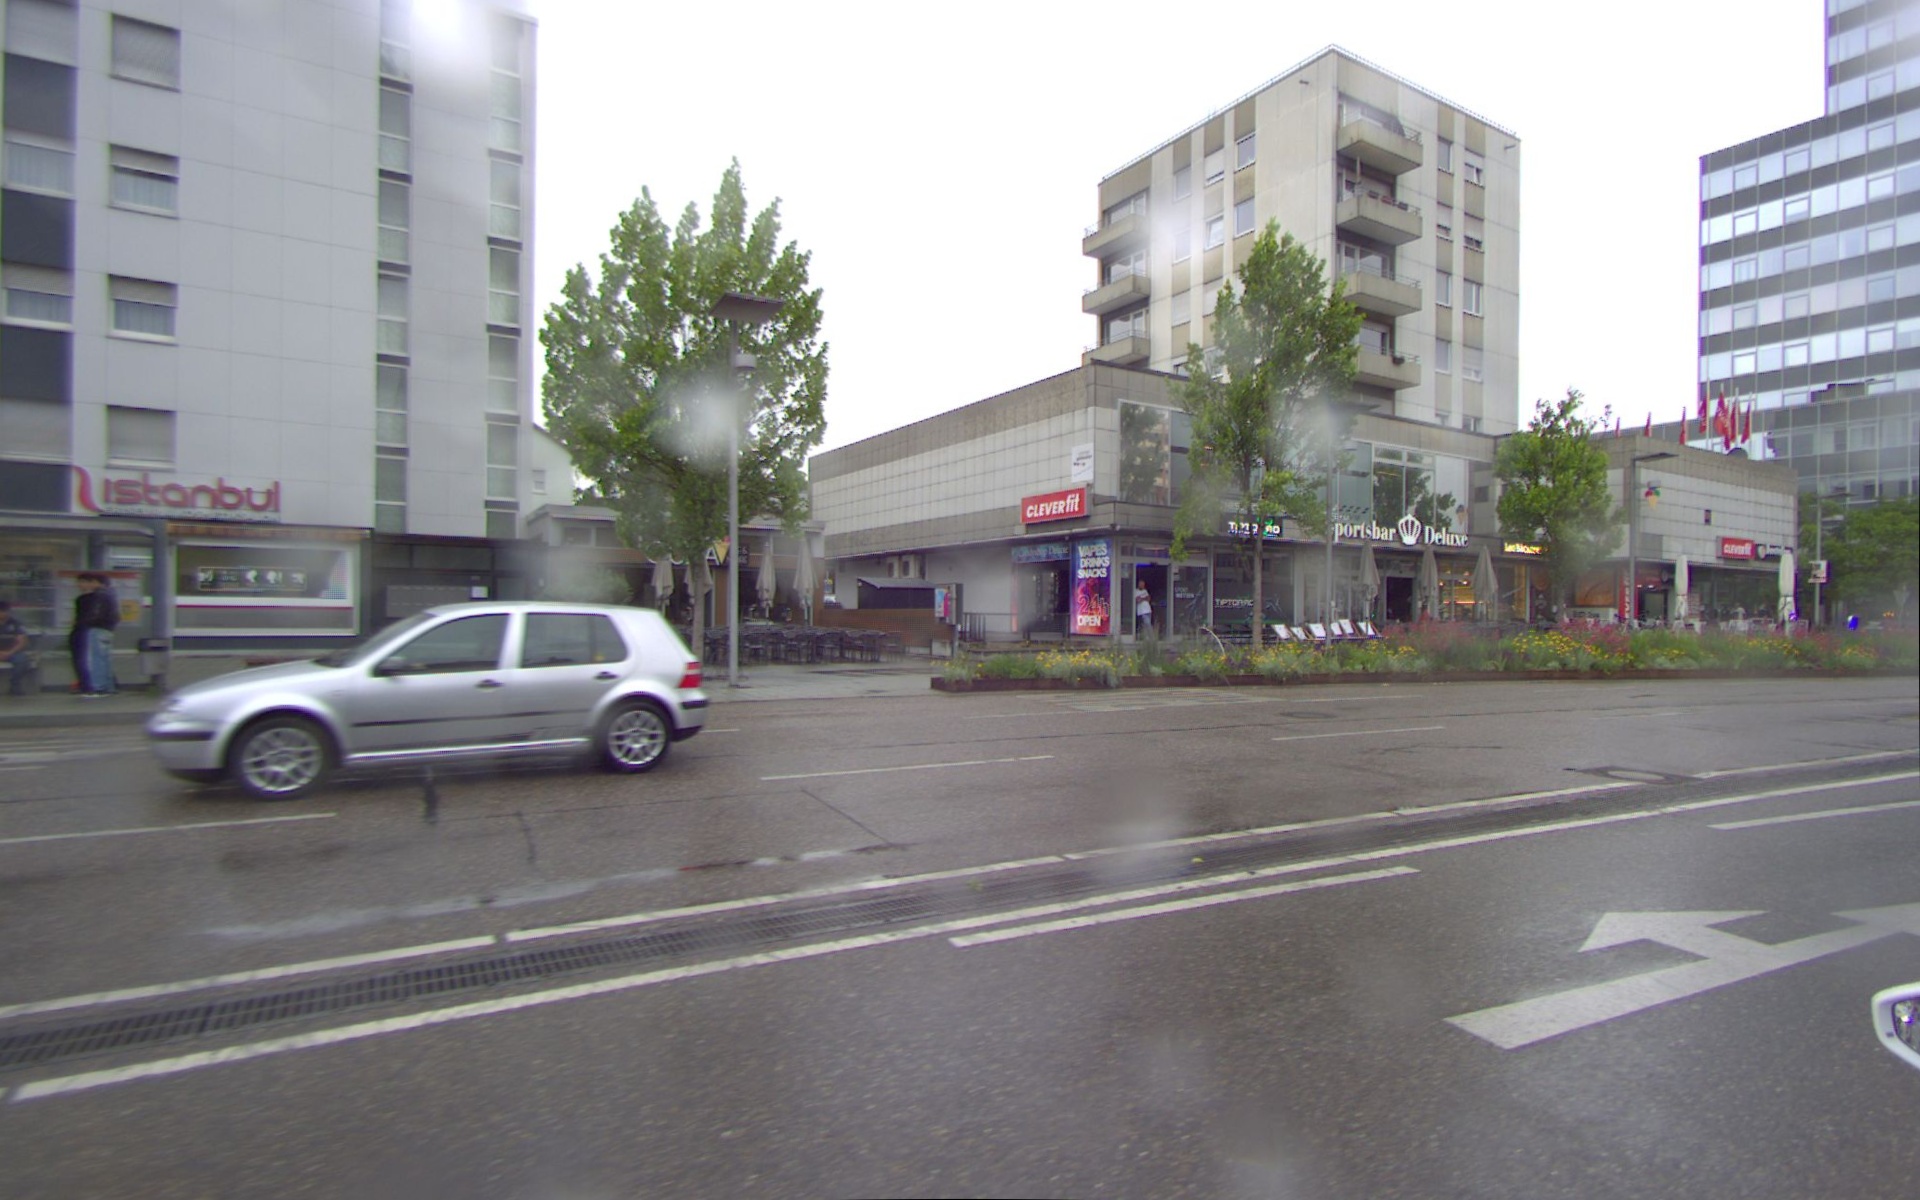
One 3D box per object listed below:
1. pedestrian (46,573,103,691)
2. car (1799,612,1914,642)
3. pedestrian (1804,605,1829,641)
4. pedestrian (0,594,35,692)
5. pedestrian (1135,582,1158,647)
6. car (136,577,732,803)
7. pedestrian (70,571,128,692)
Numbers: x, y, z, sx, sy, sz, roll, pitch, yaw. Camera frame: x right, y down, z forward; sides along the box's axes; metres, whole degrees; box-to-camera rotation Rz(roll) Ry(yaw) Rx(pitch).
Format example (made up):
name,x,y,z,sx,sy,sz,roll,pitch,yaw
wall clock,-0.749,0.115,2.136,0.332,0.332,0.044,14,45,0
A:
name,x,y,z,sx,sy,sz,roll,pitch,yaw
pedestrian,-12.827,0.455,14.563,0.473,1.681,0.533,1,0,-26
car,45.985,1.369,51.627,1.845,1.439,4.032,1,0,-26
pedestrian,33.137,0.874,38.873,0.526,1.366,0.497,1,0,4
pedestrian,-13.552,0.599,14.192,0.571,1.370,0.533,1,0,-26
pedestrian,5.436,0.411,29.280,0.494,1.873,0.425,1,0,-22
car,-4.156,0.638,8.437,4.059,1.485,1.690,1,-1,-33
pedestrian,-12.222,0.437,14.272,0.530,1.681,0.475,1,0,-31
